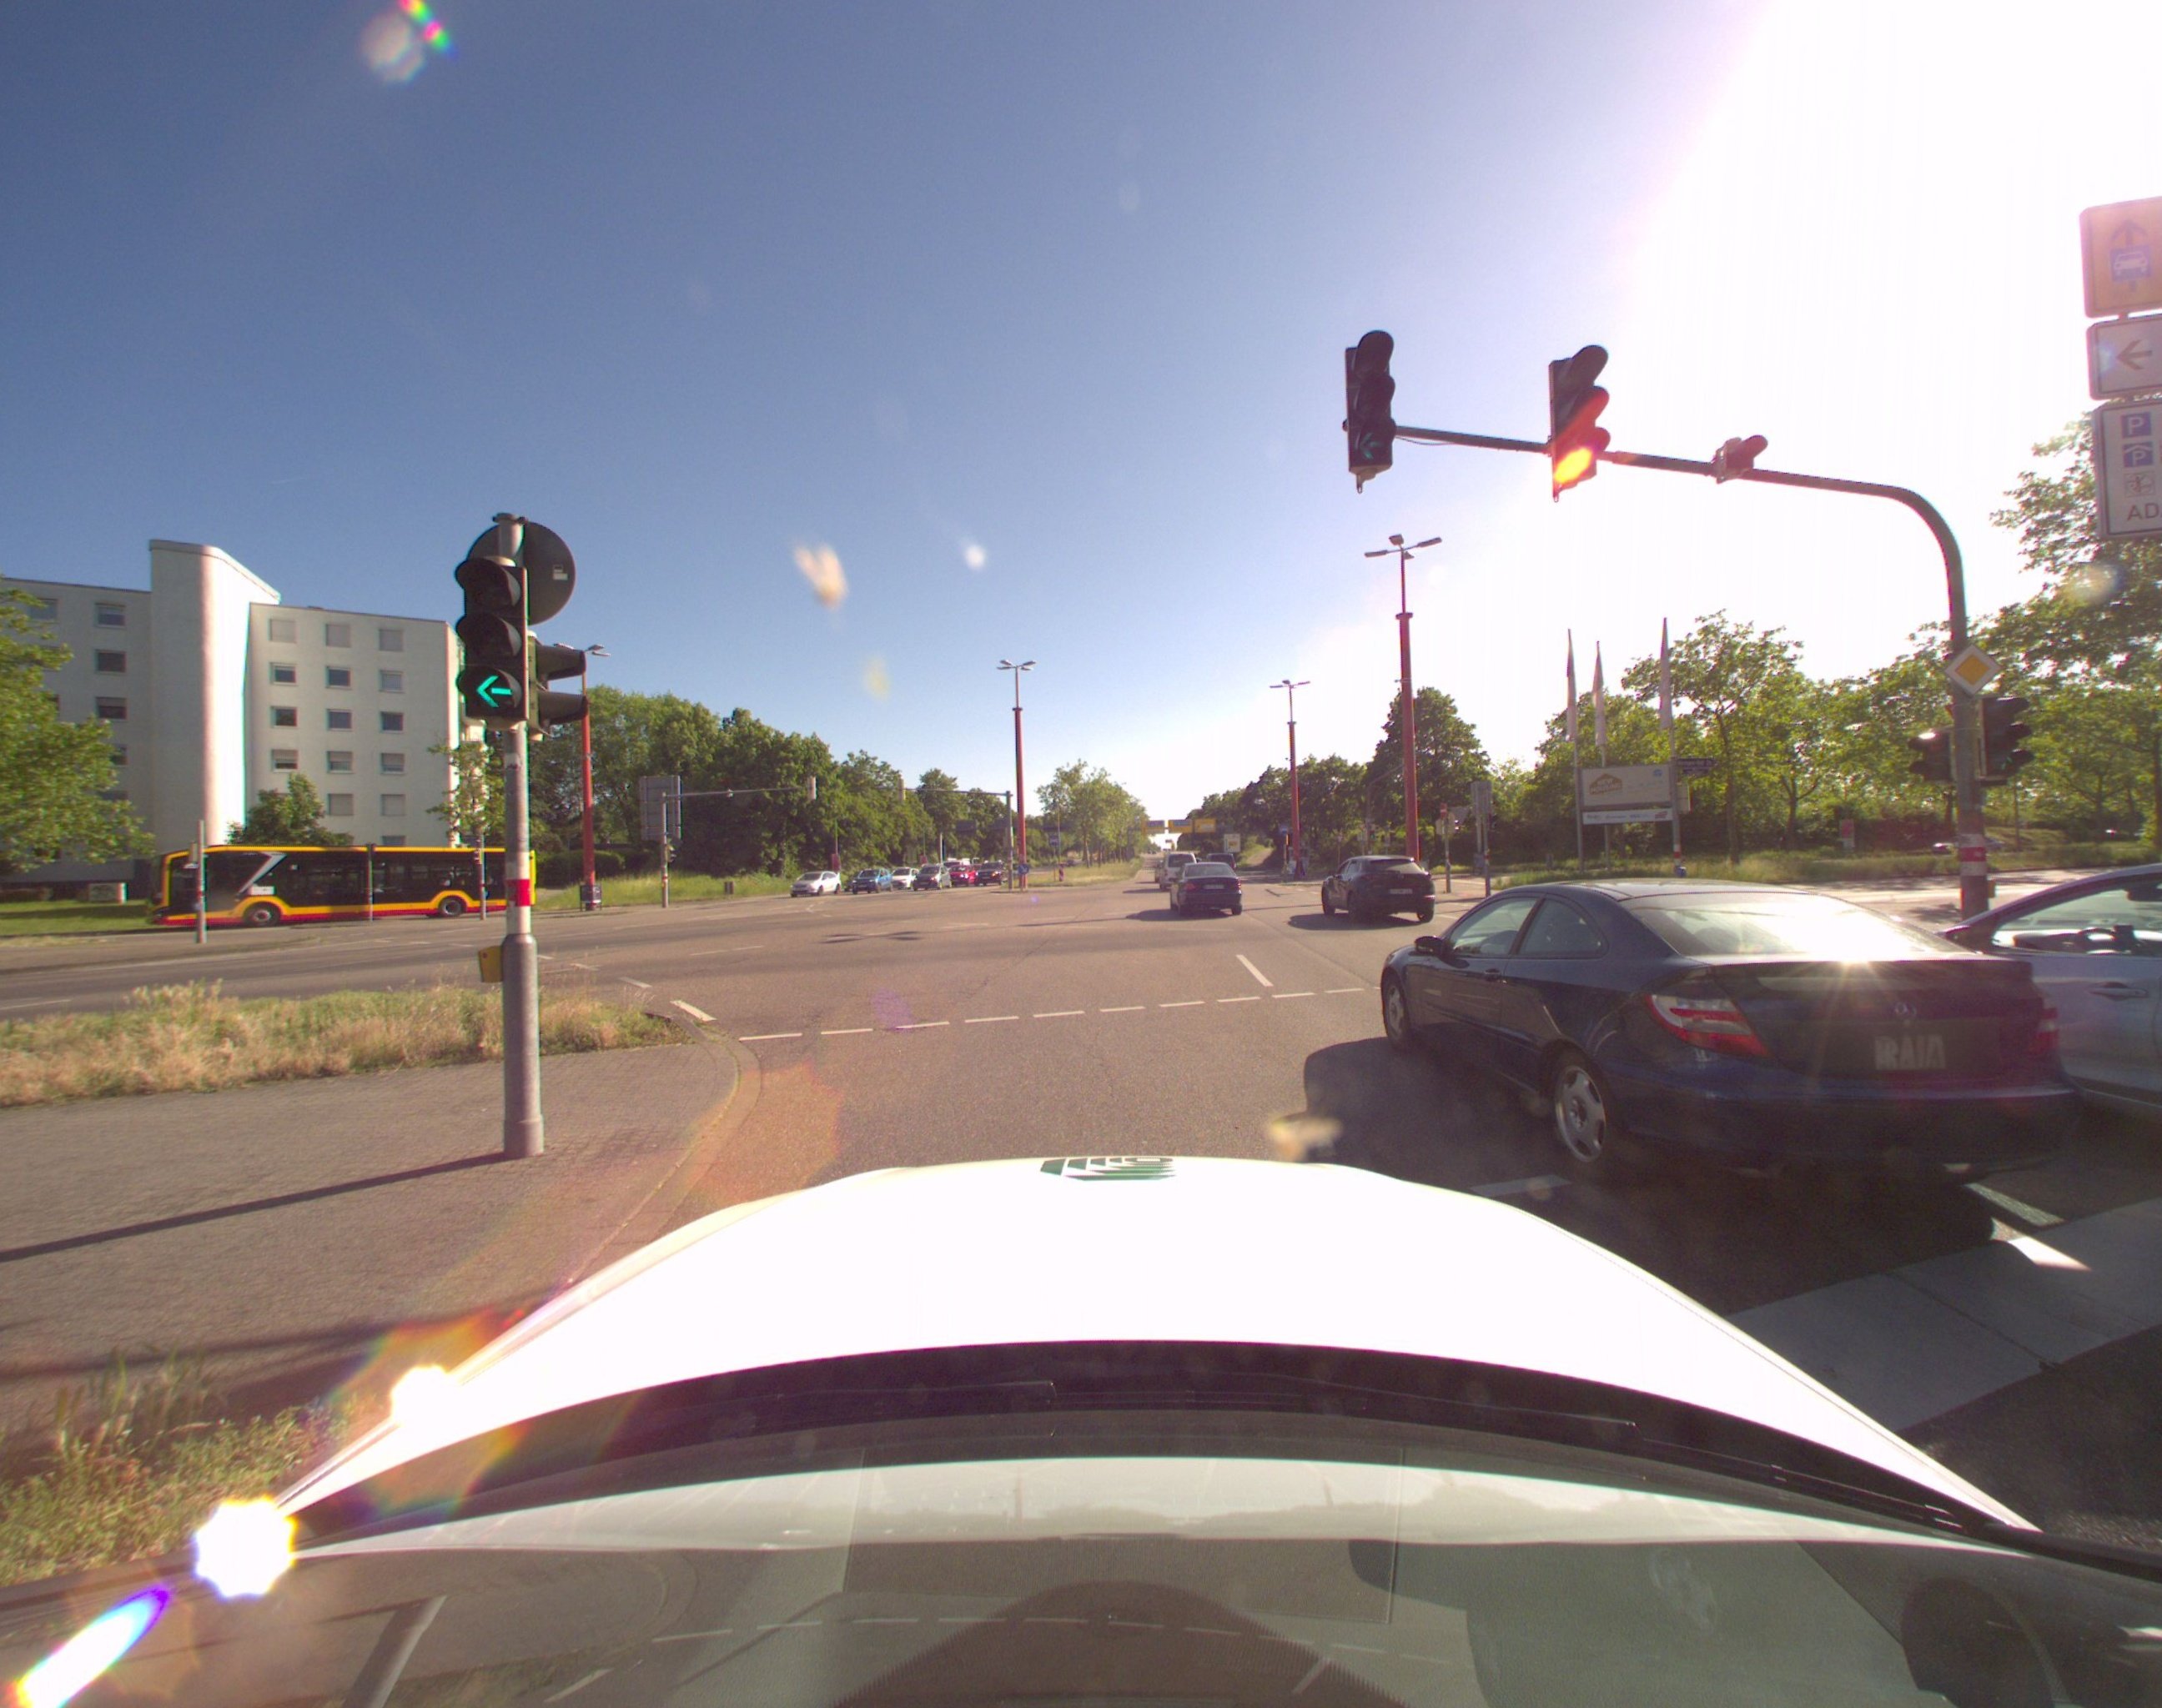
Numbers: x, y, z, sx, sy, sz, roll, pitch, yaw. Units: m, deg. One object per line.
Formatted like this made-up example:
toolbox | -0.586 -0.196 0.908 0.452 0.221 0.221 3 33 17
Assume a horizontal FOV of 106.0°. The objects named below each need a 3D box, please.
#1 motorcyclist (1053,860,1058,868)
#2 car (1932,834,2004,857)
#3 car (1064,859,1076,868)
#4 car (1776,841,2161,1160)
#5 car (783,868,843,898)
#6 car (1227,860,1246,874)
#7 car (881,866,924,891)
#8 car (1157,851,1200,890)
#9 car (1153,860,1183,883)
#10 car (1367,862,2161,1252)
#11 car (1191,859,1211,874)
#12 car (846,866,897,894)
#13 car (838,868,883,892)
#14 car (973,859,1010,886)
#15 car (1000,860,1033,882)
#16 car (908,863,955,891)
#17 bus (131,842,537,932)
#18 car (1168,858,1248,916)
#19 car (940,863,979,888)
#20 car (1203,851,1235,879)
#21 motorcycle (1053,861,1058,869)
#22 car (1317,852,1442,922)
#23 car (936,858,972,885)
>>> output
motorcyclist | -5.300 2.070 169.114 0.769 1.738 0.917 0 -1 4
car | 61.581 -0.561 56.545 4.135 1.517 1.855 0 -1 -19
car | -2.181 1.885 160.507 1.912 1.846 3.955 -2 -1 -4
car | 6.004 0.692 4.077 1.714 1.517 4.141 0 0 4
car | -16.202 1.710 49.470 1.868 1.652 4.224 -3 -1 5
car | 16.985 1.380 89.283 1.587 1.491 3.685 0 -1 4
car | -12.152 1.618 55.703 1.894 1.555 4.002 -3 -1 2
car | 4.818 0.816 40.696 1.797 1.821 4.589 -1 -1 3
car | 5.688 1.137 53.588 1.796 1.493 4.688 0 -1 4
car | 3.249 0.786 5.067 1.711 1.420 4.054 -1 -1 3
car | 12.642 1.324 85.915 1.708 1.608 3.851 0 -1 4
car | -12.693 1.577 49.567 1.793 1.515 3.863 -3 -1 4
car | -15.849 1.848 58.729 1.876 1.513 4.005 -3 -1 4
car | -5.942 1.188 54.463 1.786 1.626 4.146 -3 -1 3
car | -4.878 1.240 61.903 1.877 1.543 4.003 -3 -1 3
car | -9.223 1.380 50.548 1.866 1.550 4.031 -3 0 3
bus | -31.148 1.254 35.163 2.620 3.261 12.615 -1 -1 36
car | 3.495 0.864 23.090 1.706 1.454 4.199 -2 0 2
car | -8.412 1.467 56.857 1.868 1.552 4.002 -5 -1 2
car | 9.876 0.778 58.553 1.796 1.852 5.109 -2 -1 4
motorcycle | -5.302 2.334 169.109 0.755 1.609 2.871 0 -1 5
car | 7.115 0.749 19.870 1.760 1.508 4.230 0 -1 4
car | -10.712 1.417 69.214 1.953 2.155 5.085 -2 -1 3
